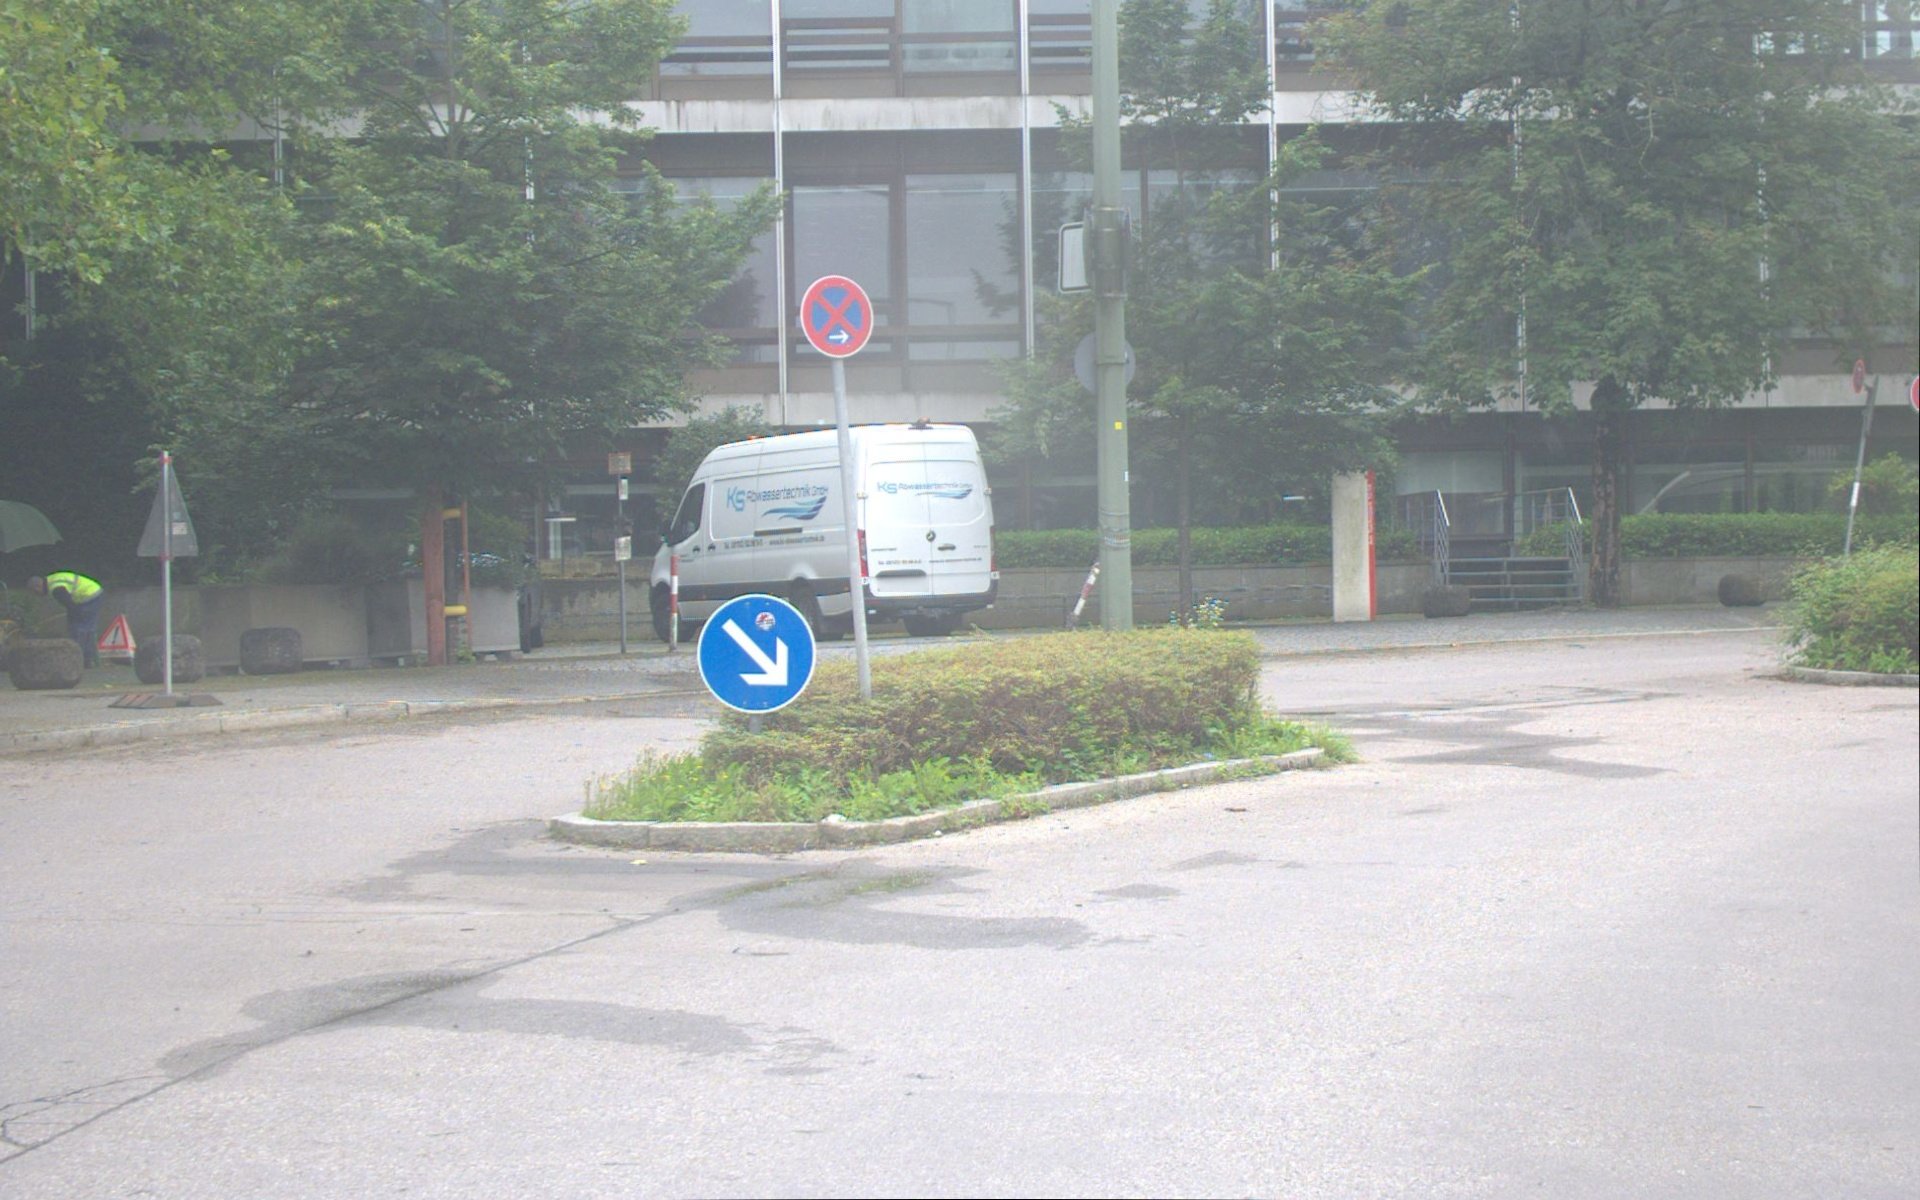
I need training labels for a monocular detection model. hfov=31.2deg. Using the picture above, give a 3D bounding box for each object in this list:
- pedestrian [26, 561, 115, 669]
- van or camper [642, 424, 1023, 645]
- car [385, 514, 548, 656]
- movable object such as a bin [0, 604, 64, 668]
[{"bbox_3d":[-10.725,0.178,41.468,0.926,1.273,0.542,-1,1,-1],"label":"pedestrian"},{"bbox_3d":[-1.762,-0.752,43.997,2.155,2.572,6.539,-1,-1,-28],"label":"van or camper"},{"bbox_3d":[-6.351,-0.219,44.615,1.941,1.715,4.240,-1,1,-7],"label":"car"},{"bbox_3d":[-11.287,0.435,41.411,0.834,0.751,0.572,-1,1,0],"label":"movable object such as a bin"}]
